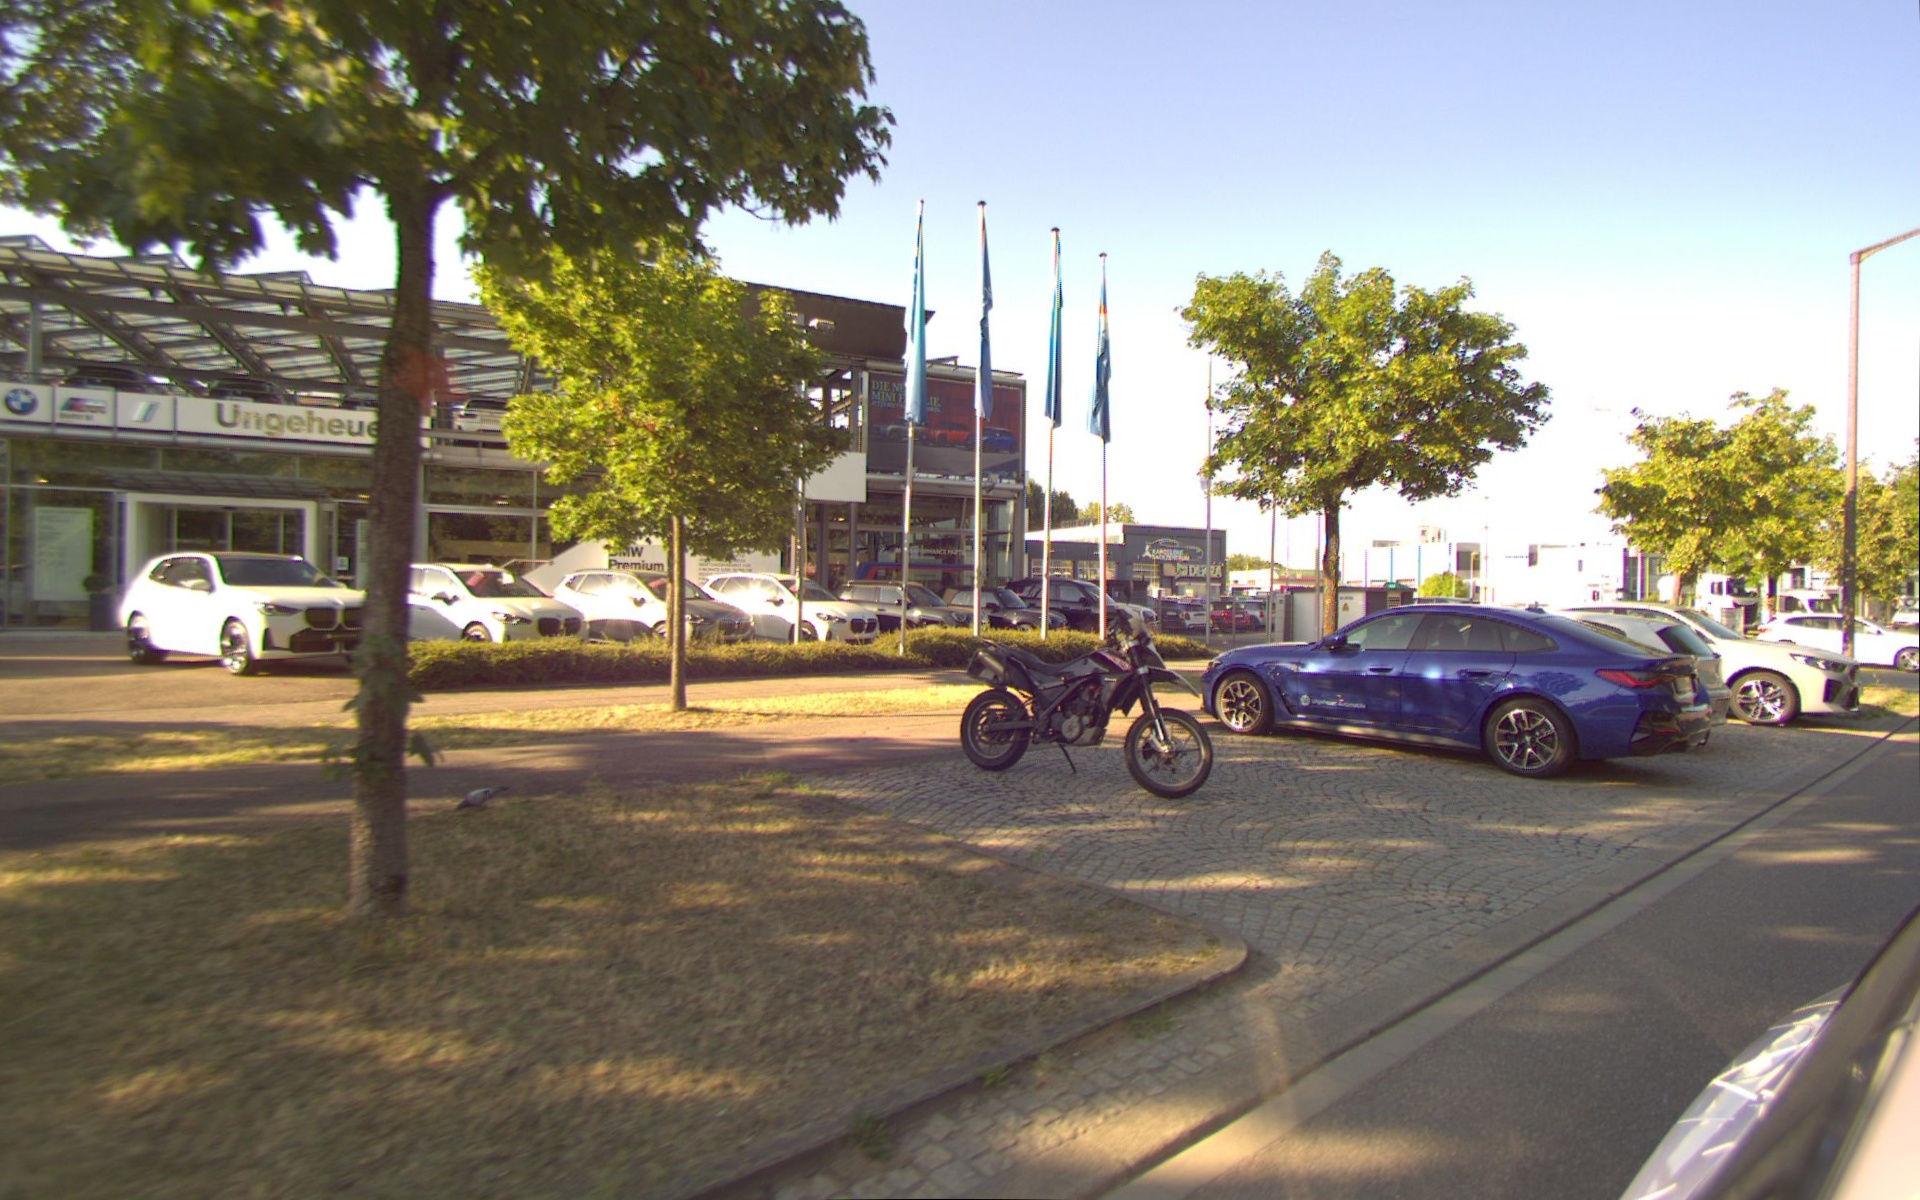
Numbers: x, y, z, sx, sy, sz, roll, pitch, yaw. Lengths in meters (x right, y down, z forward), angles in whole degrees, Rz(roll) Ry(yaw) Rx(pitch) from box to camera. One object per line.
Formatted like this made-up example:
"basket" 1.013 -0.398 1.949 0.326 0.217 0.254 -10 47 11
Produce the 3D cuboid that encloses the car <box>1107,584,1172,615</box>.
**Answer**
"car" 10.925 -0.064 61.745 1.958 1.763 4.008 1 1 -24

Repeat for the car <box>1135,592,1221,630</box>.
"car" 9.964 0.464 46.455 1.958 1.598 4.008 -2 2 -21

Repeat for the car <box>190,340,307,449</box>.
"car" -17.629 -5.012 25.262 1.750 1.688 4.005 1 -2 -26

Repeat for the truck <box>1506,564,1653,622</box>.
"truck" 42.580 -0.504 70.118 3.229 3.690 10.130 1 1 -5

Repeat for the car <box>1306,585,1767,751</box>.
"car" 6.678 0.641 12.139 1.965 1.498 4.386 1 2 -40

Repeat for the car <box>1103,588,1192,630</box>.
"car" 8.270 0.355 44.989 1.958 1.598 4.008 6 -1 -21

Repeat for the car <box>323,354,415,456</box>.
"car" -15.303 -4.976 26.382 1.750 1.688 4.005 1 -2 -26

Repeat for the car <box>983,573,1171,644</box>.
"car" 3.096 0.188 26.954 4.562 1.687 1.981 2 1 28

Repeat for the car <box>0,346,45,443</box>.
"car" -22.621 -4.818 22.947 1.750 1.688 4.004 1 -2 -27

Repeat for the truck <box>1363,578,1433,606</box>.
"truck" 48.043 -0.855 110.921 6.968 2.943 2.003 1 0 -8

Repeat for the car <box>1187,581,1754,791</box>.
"car" 4.770 0.629 10.090 1.965 1.474 4.635 1 2 -40

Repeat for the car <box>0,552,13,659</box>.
"car" -15.451 0.089 12.728 1.965 1.591 5.184 1 1 5

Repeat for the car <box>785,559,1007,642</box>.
"car" -1.437 -0.037 22.673 4.554 1.593 1.984 2 1 24

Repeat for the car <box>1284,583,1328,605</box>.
"car" 37.471 -0.652 109.507 3.918 2.306 2.092 1 0 -9

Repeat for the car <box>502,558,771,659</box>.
"car" -5.956 0.092 18.650 4.554 1.593 1.984 2 1 24

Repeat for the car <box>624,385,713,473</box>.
"car" -8.539 -4.877 29.448 1.750 1.688 4.004 1 -2 -27

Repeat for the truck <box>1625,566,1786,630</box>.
"truck" 44.346 -0.160 60.644 3.053 3.566 8.261 1 1 -4

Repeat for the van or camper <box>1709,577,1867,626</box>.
"van or camper" 53.714 0.037 65.994 2.882 2.936 8.025 1 1 -9

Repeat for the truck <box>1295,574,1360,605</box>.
"truck" 44.696 -1.229 123.237 6.968 3.620 2.681 1 0 -8

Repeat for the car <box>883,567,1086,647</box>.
"car" 0.590 0.115 24.803 4.554 1.687 1.984 2 1 24

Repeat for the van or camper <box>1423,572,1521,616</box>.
"van or camper" 41.666 -0.527 82.654 2.364 3.371 8.155 1 1 -13

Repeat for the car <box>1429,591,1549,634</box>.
"car" 21.250 0.485 40.829 1.958 1.598 4.008 1 1 -21

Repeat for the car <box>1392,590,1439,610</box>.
"car" 48.714 0.014 108.228 3.918 2.039 2.397 1 0 -9

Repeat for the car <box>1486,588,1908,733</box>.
"car" 10.402 0.711 14.576 1.966 1.604 4.597 1 2 -43

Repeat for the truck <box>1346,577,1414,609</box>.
"truck" 47.261 -0.806 113.830 6.968 3.393 2.003 1 0 -8

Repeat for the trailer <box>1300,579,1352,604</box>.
"trailer" 38.864 -0.903 107.401 4.758 2.467 2.003 1 0 -9

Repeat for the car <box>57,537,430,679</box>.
"car" -10.427 0.028 14.761 4.677 1.711 2.392 2 1 24

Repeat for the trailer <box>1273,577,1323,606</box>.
"trailer" 37.643 -0.954 112.758 4.758 3.107 2.003 1 0 -9

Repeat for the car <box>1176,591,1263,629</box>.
"car" 12.054 0.434 47.266 1.958 1.598 4.008 -2 2 -21

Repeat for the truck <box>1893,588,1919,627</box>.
"truck" 71.005 0.559 73.513 5.847 2.754 2.551 1 0 -24

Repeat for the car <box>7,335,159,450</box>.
"car" -20.546 -4.787 23.901 1.750 1.688 4.004 1 -2 -27

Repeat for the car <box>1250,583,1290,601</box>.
"car" 36.432 -0.987 119.058 3.917 2.039 2.003 1 0 -9

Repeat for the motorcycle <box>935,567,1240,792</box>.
"motorcycle" 0.949 0.514 7.767 2.116 1.484 0.938 2 1 35

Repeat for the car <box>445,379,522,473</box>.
"car" -13.067 -4.665 27.664 1.750 1.688 4.004 1 -2 -27

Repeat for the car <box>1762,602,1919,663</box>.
"car" 24.958 0.876 27.853 2.052 1.461 4.205 1 2 -42

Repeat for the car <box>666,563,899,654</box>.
"car" -3.697 0.115 20.835 4.570 1.593 1.978 3 2 32

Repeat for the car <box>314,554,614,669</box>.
"car" -8.202 0.112 16.718 4.554 1.593 1.984 2 1 24

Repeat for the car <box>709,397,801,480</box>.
"car" -6.317 -4.830 30.878 1.750 1.688 4.004 1 -2 -27

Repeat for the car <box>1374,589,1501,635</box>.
"car" 17.766 0.424 37.844 1.958 1.598 4.008 1 1 -21
